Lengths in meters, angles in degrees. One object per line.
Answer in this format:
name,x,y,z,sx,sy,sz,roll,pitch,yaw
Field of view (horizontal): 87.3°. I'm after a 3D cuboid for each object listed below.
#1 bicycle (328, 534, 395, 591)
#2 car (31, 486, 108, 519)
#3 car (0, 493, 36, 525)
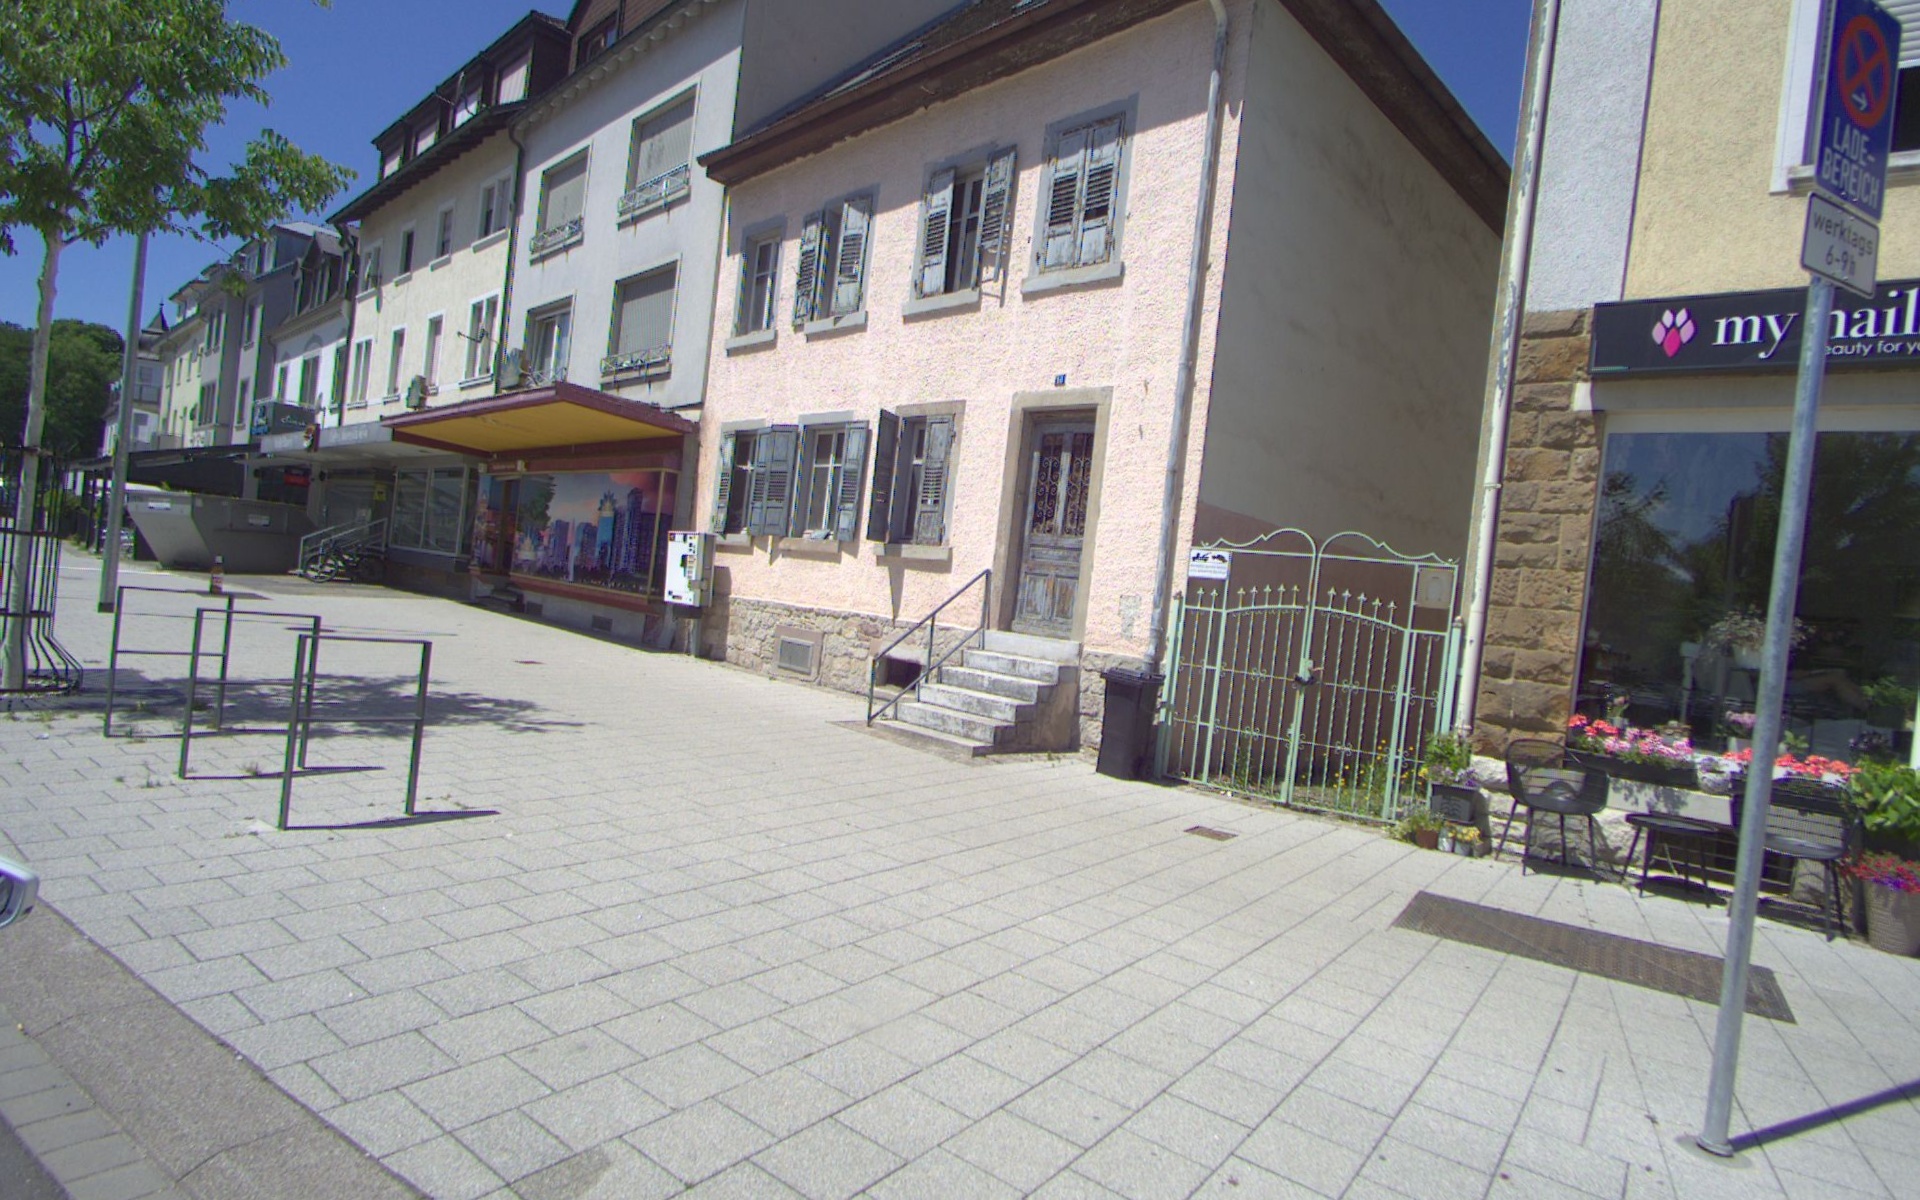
bicycle,-14.759,-0.913,24.818,1.264,1.197,0.411,9,-2,-37
car,-66.715,-7.283,75.416,1.832,1.736,4.068,7,-2,44
car,-51.539,-4.928,54.096,1.857,1.511,3.829,6,2,-30
